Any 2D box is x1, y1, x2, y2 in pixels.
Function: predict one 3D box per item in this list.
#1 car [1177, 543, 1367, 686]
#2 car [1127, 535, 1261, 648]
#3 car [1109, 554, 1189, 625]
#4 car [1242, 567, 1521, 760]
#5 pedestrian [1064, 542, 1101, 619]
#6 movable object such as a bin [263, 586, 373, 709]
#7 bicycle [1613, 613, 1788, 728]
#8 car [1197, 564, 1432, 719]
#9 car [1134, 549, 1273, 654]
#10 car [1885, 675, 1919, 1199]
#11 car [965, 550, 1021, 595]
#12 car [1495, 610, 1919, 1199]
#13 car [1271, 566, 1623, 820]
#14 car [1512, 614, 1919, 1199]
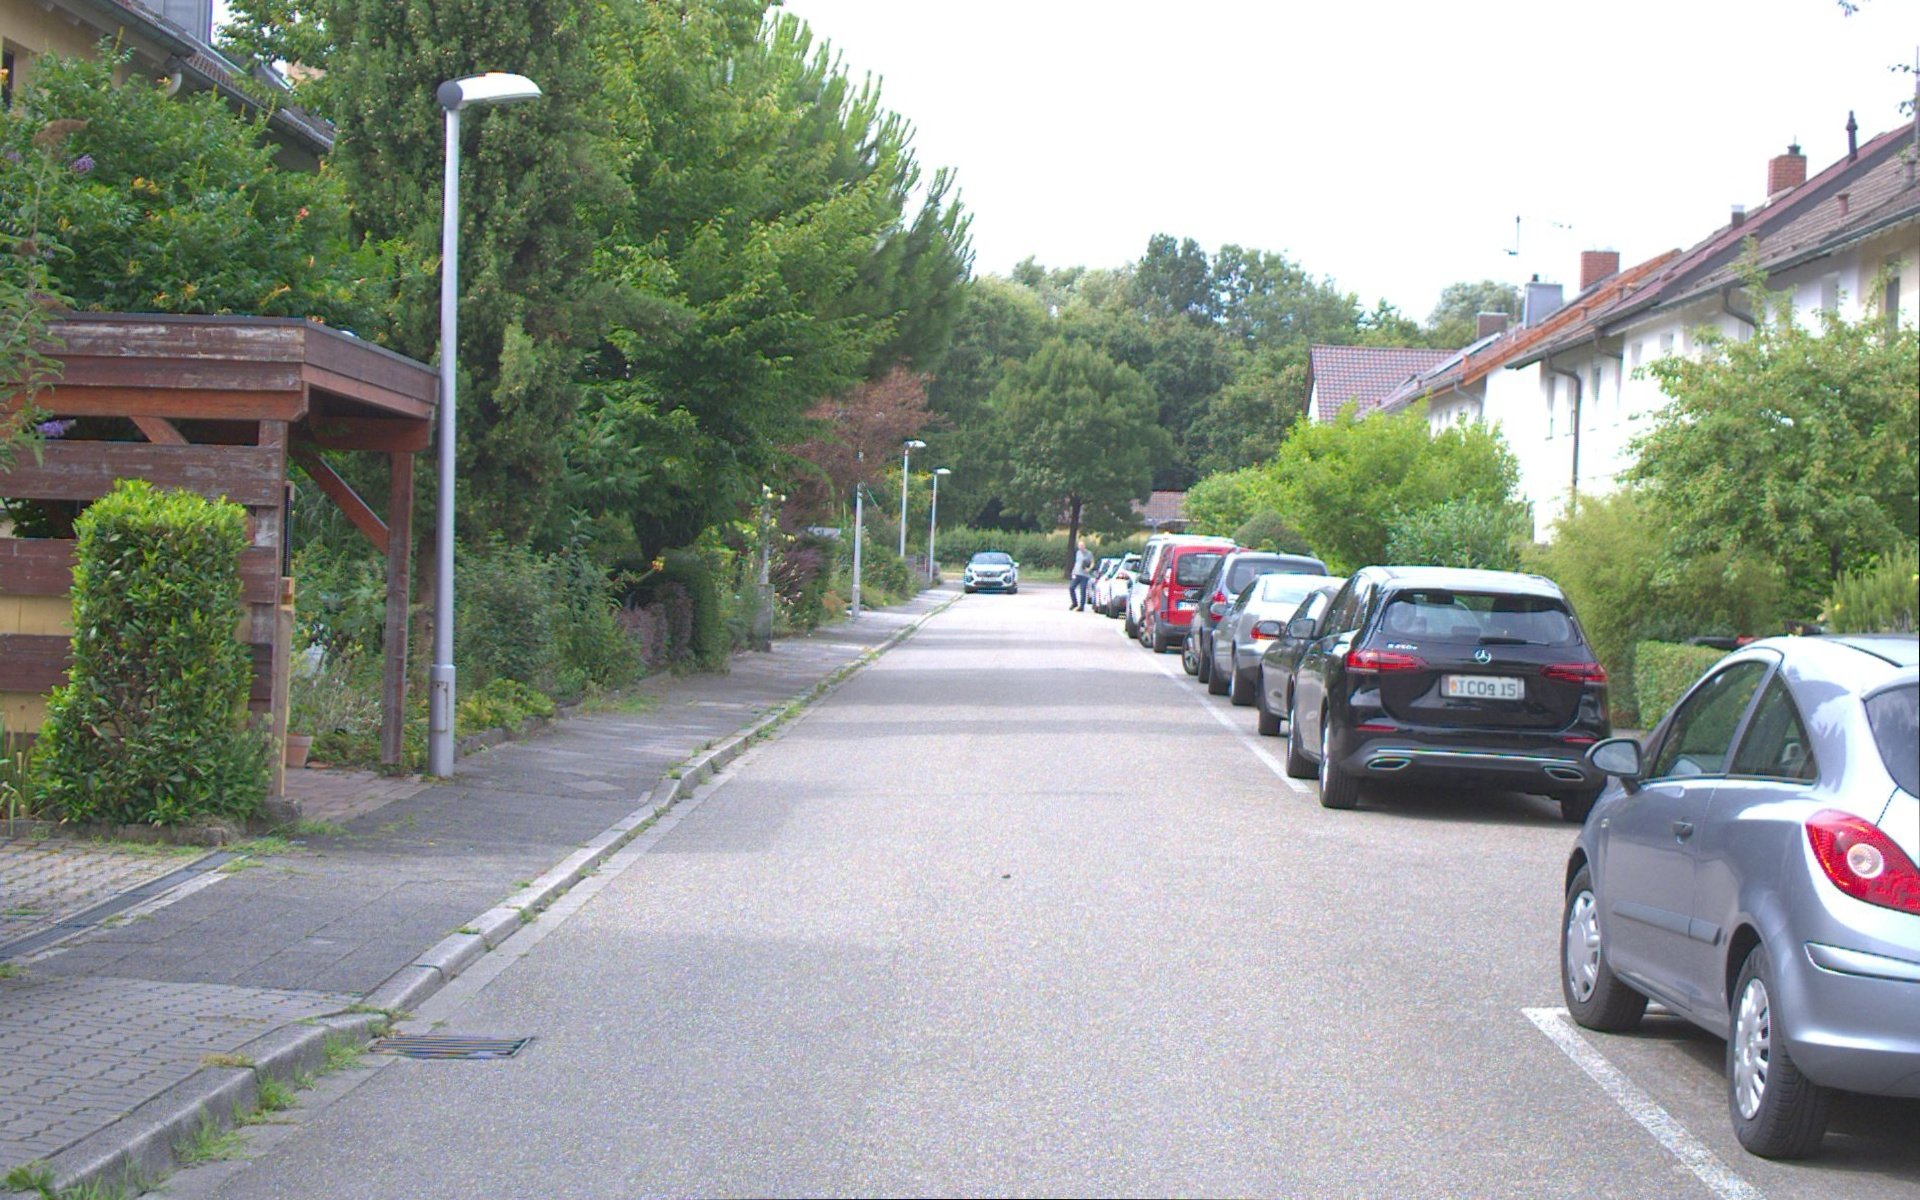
[{"bbox_3d":[3.867,0.134,43.283,1.867,1.648,4.464,2,1,-1],"label":"car"},{"bbox_3d":[4.205,-0.185,62.449,2.020,1.940,4.748,1,1,-1],"label":"car"},{"bbox_3d":[4.498,-0.267,82.136,1.714,1.538,3.973,3,1,2],"label":"car"},{"bbox_3d":[3.470,0.475,28.985,1.732,1.423,4.126,2,1,-1],"label":"car"},{"bbox_3d":[3.243,-0.519,91.150,0.912,2.007,0.951,2,1,1],"label":"pedestrian"},{"bbox_3d":[-5.192,0.375,27.824,0.712,0.953,0.751,2,1,1],"label":"movable object such as a bin"},{"bbox_3d":[6.940,0.656,32.243,1.538,1.019,0.376,2,1,7],"label":"bicycle"},{"bbox_3d":[3.715,0.395,36.847,1.867,1.402,4.768,4,1,-1],"label":"car"},{"bbox_3d":[4.021,-0.005,57.454,1.810,1.645,4.411,1,1,-2],"label":"car"},{"bbox_3d":[2.937,0.916,5.420,1.693,1.360,4.698,2,1,1],"label":"car"},{"bbox_3d":[1.243,-1.030,127.026,1.934,1.551,4.634,1,1,2],"label":"car"},{"bbox_3d":[2.963,0.840,11.015,1.703,1.437,4.221,3,1,-1],"label":"car"},{"bbox_3d":[3.186,0.544,23.333,1.749,1.462,4.648,2,1,1],"label":"car"},{"bbox_3d":[2.962,0.852,10.939,1.741,1.465,4.217,2,1,1],"label":"car"}]
